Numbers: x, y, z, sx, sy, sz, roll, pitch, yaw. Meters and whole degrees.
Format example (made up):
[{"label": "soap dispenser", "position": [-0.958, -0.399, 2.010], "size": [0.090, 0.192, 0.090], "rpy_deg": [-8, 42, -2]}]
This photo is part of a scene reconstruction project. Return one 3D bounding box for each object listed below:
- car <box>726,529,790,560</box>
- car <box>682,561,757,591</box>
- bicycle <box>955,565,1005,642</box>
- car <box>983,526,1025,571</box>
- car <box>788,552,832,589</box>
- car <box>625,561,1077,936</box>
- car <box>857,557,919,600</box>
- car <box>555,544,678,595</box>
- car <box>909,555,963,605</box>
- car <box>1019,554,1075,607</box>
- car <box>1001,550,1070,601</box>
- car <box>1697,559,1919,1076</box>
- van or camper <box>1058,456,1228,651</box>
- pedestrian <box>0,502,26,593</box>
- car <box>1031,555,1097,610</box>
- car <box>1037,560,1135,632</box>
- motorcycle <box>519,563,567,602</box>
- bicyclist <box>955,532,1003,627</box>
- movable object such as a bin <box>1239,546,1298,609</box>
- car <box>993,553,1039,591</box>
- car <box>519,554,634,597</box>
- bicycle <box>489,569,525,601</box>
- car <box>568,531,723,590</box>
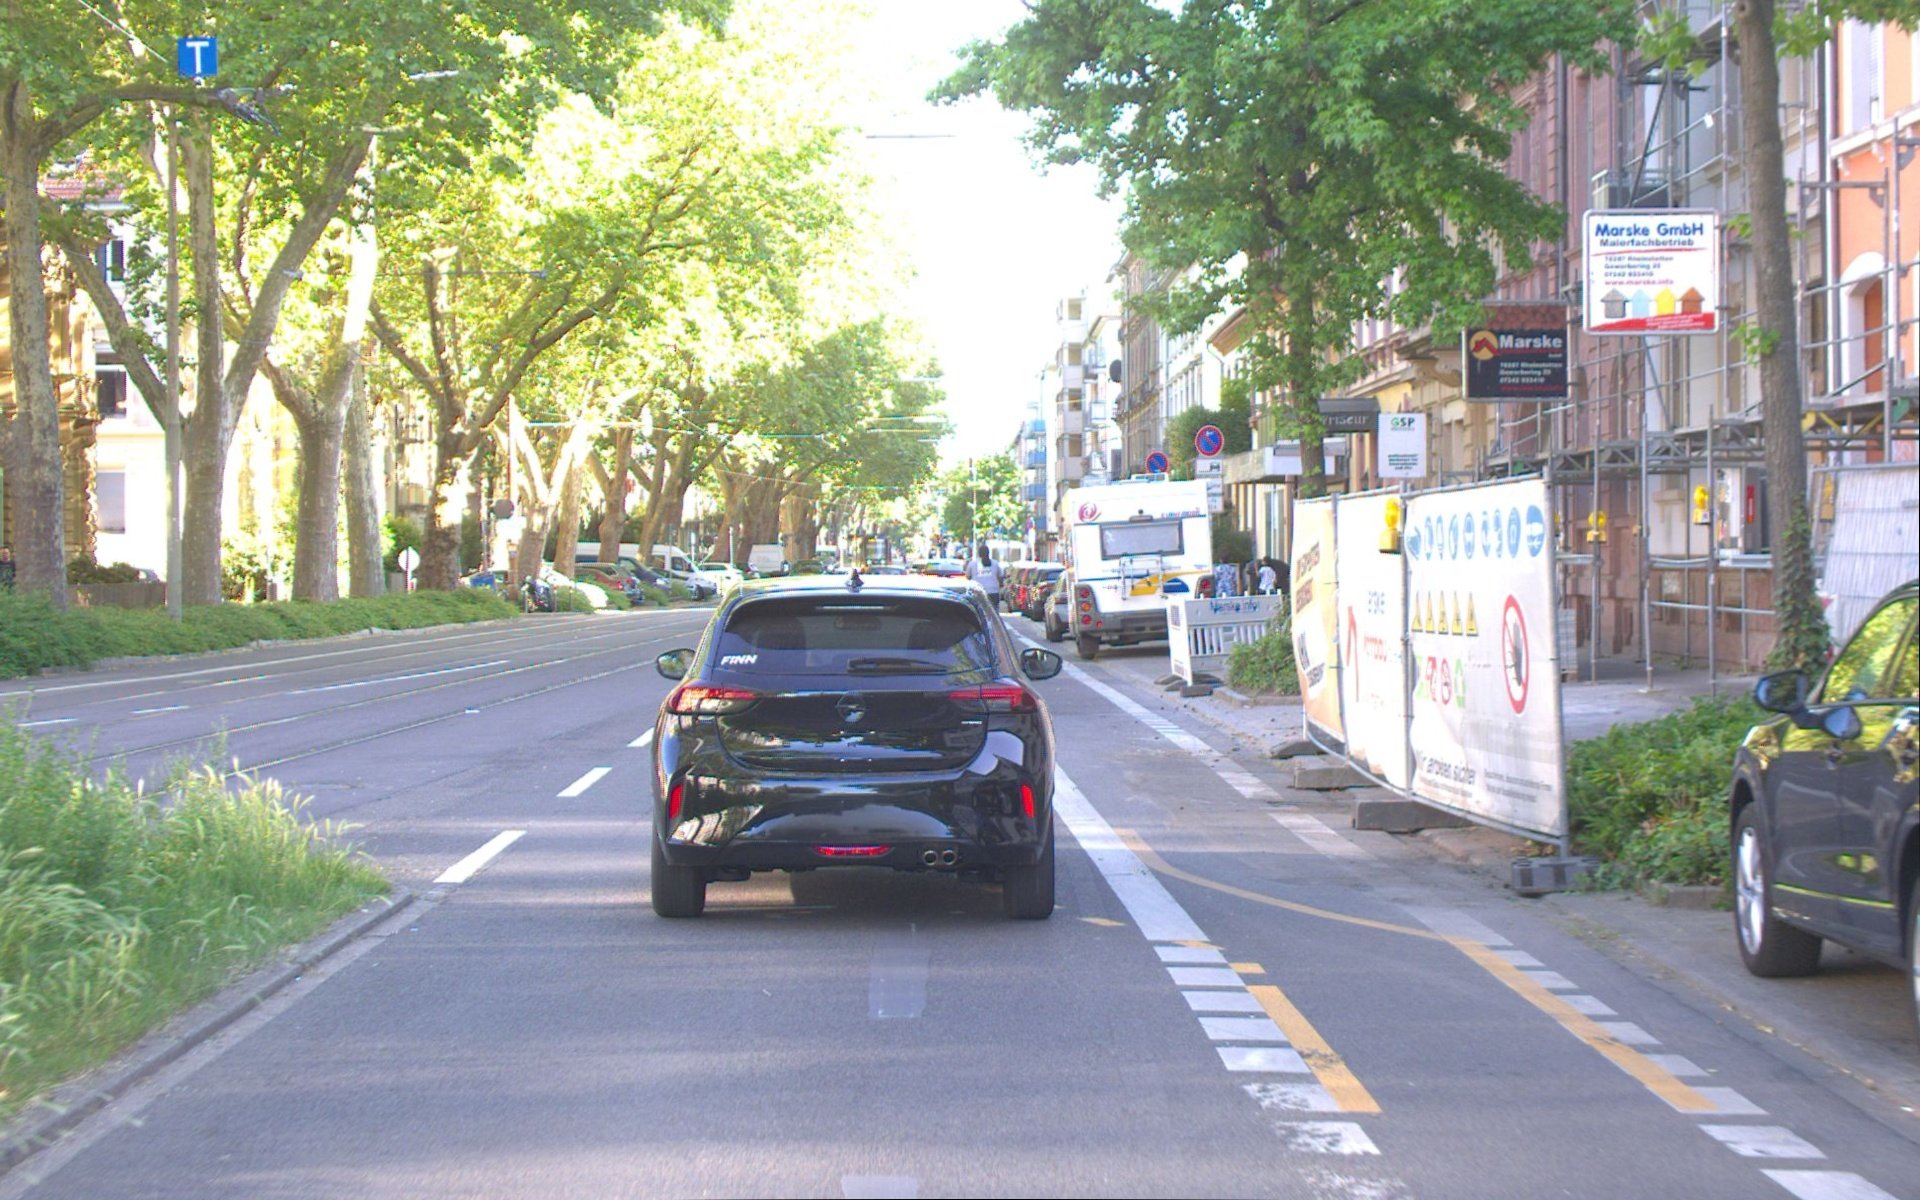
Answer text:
[{"label": "car", "position": [-12.649, -3.466, 215.212], "size": [3.919, 1.784, 1.677], "rpy_deg": [2, 0, -2]}, {"label": "car", "position": [-12.896, -1.302, 184.497], "size": [3.919, 1.493, 1.677], "rpy_deg": [2, 0, -2]}, {"label": "bicycle", "position": [0.360, 0.054, 64.138], "size": [0.860, 1.402, 2.524], "rpy_deg": [0, 1, -1]}, {"label": "car", "position": [2.349, -2.722, 181.441], "size": [2.075, 2.211, 4.933], "rpy_deg": [-3, 1, 1]}, {"label": "car", "position": [-6.868, -1.361, 157.656], "size": [1.866, 1.624, 4.560], "rpy_deg": [0, 1, 0]}, {"label": "car", "position": [-0.446, 0.574, 15.494], "size": [1.794, 1.436, 3.531], "rpy_deg": [0, 1, 0]}, {"label": "car", "position": [-2.265, -0.680, 108.846], "size": [1.810, 1.334, 3.933], "rpy_deg": [0, 1, 1]}, {"label": "car", "position": [-13.861, -1.230, 138.948], "size": [4.675, 1.917, 1.980], "rpy_deg": [2, 0, 1]}, {"label": "car", "position": [-0.832, -0.707, 120.726], "size": [1.810, 1.736, 3.933], "rpy_deg": [0, 1, 1]}, {"label": "car", "position": [2.620, -0.609, 103.572], "size": [1.634, 1.541, 3.576], "rpy_deg": [-1, 1, 1]}, {"label": "car", "position": [2.498, -0.818, 114.579], "size": [1.880, 1.580, 3.933], "rpy_deg": [-3, 1, -3]}, {"label": "car", "position": [3.725, 0.616, 11.414], "size": [1.763, 1.478, 4.109], "rpy_deg": [-1, 1, 2]}, {"label": "van or camper", "position": [3.018, -0.786, 58.593], "size": [2.477, 2.962, 7.884], "rpy_deg": [-3, 1, 1]}, {"label": "pedestrian", "position": [-19.423, -1.064, 69.865], "size": [0.719, 1.843, 0.838], "rpy_deg": [0, 0, -7]}, {"label": "car", "position": [2.749, -0.472, 91.534], "size": [1.694, 1.388, 4.494], "rpy_deg": [-1, 1, 1]}, {"label": "car", "position": [2.601, -0.107, 72.044], "size": [1.809, 1.430, 4.665], "rpy_deg": [-1, 1, 0]}, {"label": "motorcycle", "position": [-12.705, -0.548, 104.766], "size": [0.884, 1.143, 2.390], "rpy_deg": [1, 1, 8]}, {"label": "bicyclist", "position": [0.353, -0.385, 64.032], "size": [0.848, 1.734, 1.162], "rpy_deg": [0, 1, -1]}, {"label": "movable object such as a bin", "position": [7.463, -0.544, 83.133], "size": [1.293, 1.515, 1.286], "rpy_deg": [0, 1, 0]}, {"label": "car", "position": [2.366, -1.173, 143.856], "size": [1.705, 1.451, 3.697], "rpy_deg": [-3, 1, 3]}, {"label": "car", "position": [-13.904, -0.882, 124.661], "size": [3.920, 1.437, 1.749], "rpy_deg": [2, 0, 0]}, {"label": "bicycle", "position": [-13.804, -0.452, 104.788], "size": [0.541, 0.937, 2.033], "rpy_deg": [1, 1, 8]}, {"label": "car", "position": [-14.020, -1.761, 153.725], "size": [6.628, 2.401, 2.458], "rpy_deg": [2, 0, 0]}]
